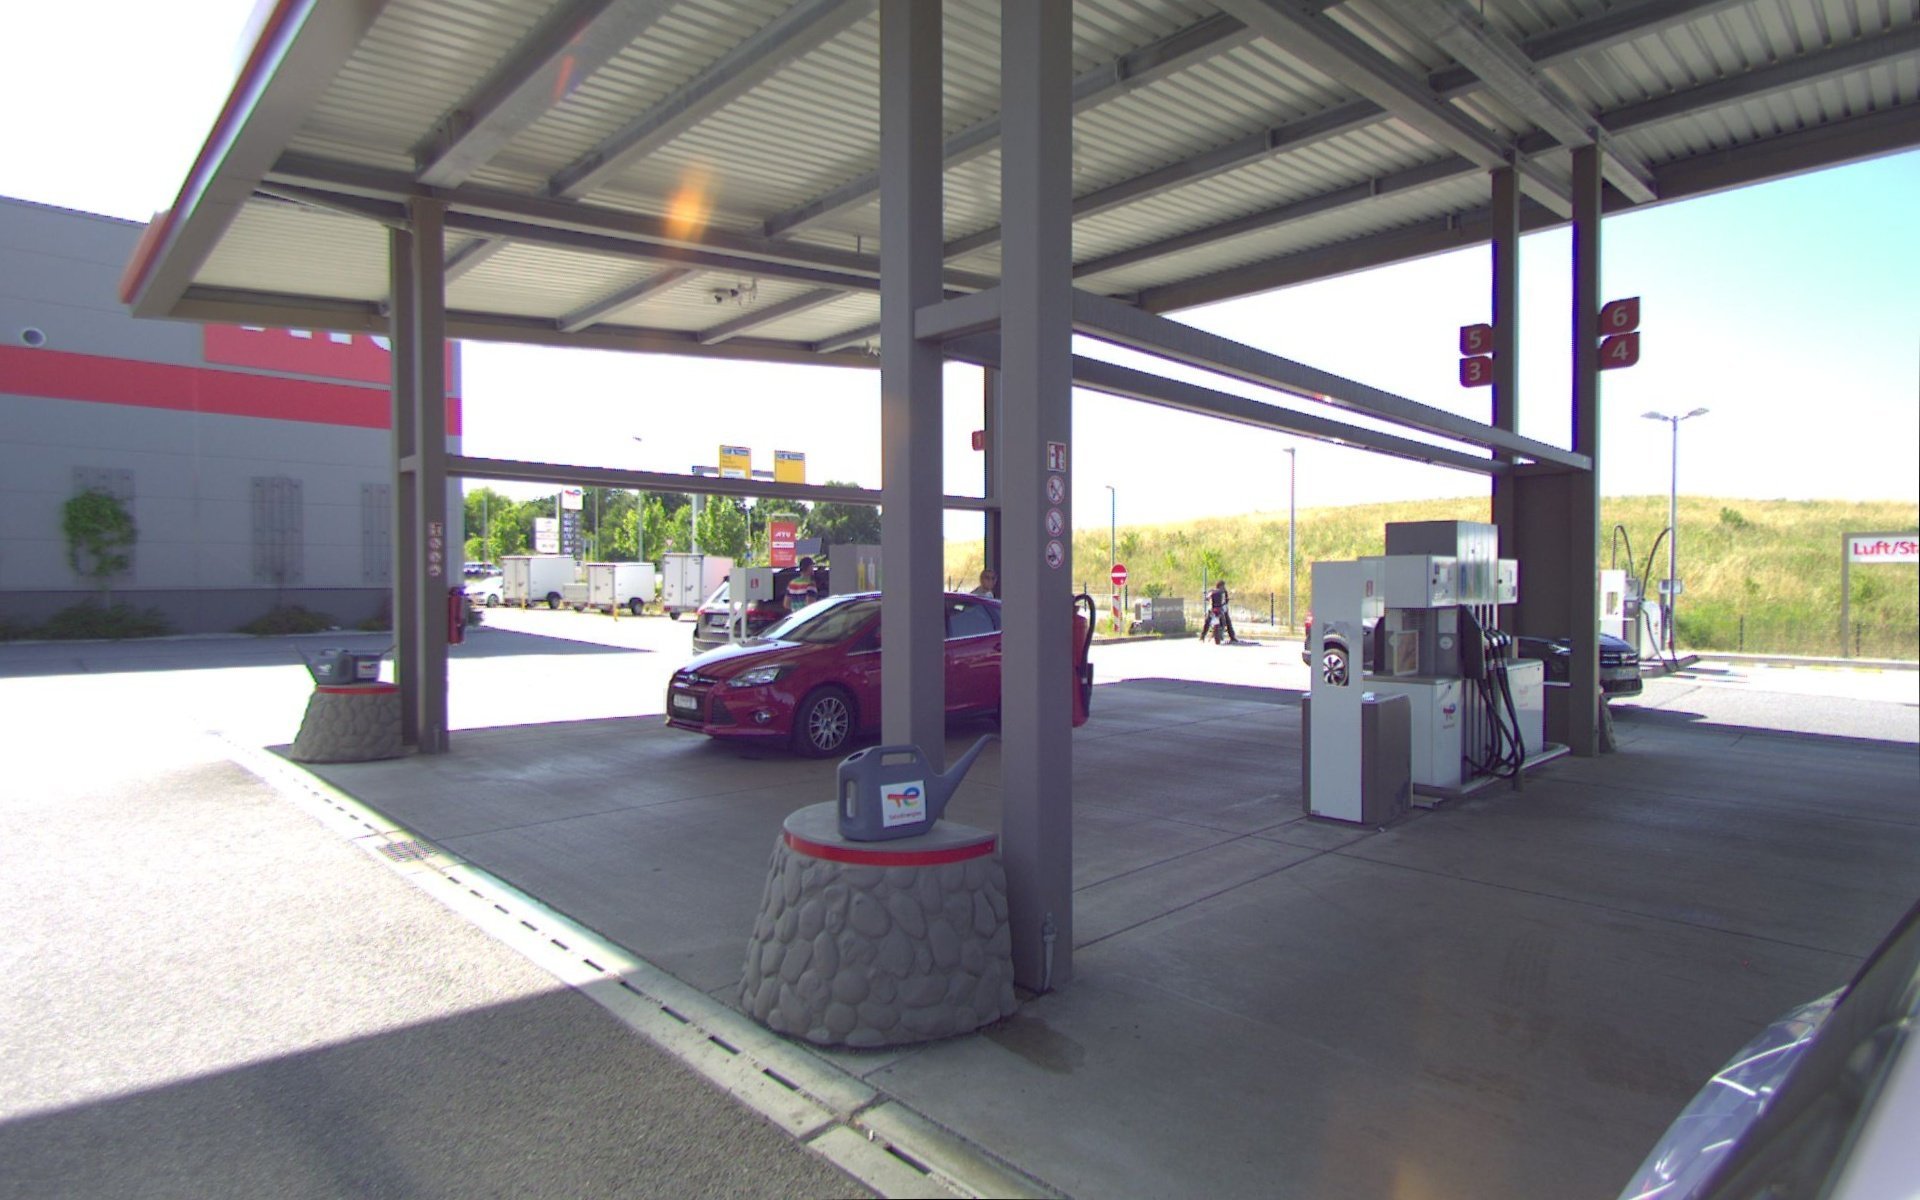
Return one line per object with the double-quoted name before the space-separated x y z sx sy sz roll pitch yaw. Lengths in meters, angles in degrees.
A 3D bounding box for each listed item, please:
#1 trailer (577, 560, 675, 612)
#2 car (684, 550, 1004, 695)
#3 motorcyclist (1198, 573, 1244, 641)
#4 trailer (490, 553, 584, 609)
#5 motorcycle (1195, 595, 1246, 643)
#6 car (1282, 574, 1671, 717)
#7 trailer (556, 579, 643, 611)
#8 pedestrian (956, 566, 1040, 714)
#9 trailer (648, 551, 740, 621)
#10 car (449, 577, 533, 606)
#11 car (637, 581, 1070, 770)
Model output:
"trailer" -13.761 -0.580 41.860 1.781 2.039 3.973 1 1 20
"car" -1.600 0.284 15.503 2.026 1.874 4.725 1 0 41
"motorcyclist" 6.798 0.165 26.335 1.022 1.709 1.091 1 1 21
"trailer" -19.677 -0.890 47.266 1.973 2.457 3.978 1 1 18
"motorcycle" 6.830 0.471 26.426 1.033 1.119 2.400 1 2 20
"car" 6.954 0.481 14.184 1.710 1.665 4.635 0 1 -33
"trailer" -15.482 -0.225 43.599 1.559 1.297 3.694 1 1 20
"pedestrian" 0.470 0.453 12.326 0.697 1.724 0.919 1 0 28
"trailer" -9.914 -0.540 38.056 1.966 2.457 3.992 1 1 7
"car" -22.067 -0.422 47.739 1.655 1.334 3.823 1 1 12
"car" -0.869 0.570 10.062 1.699 1.487 4.164 1 1 45
